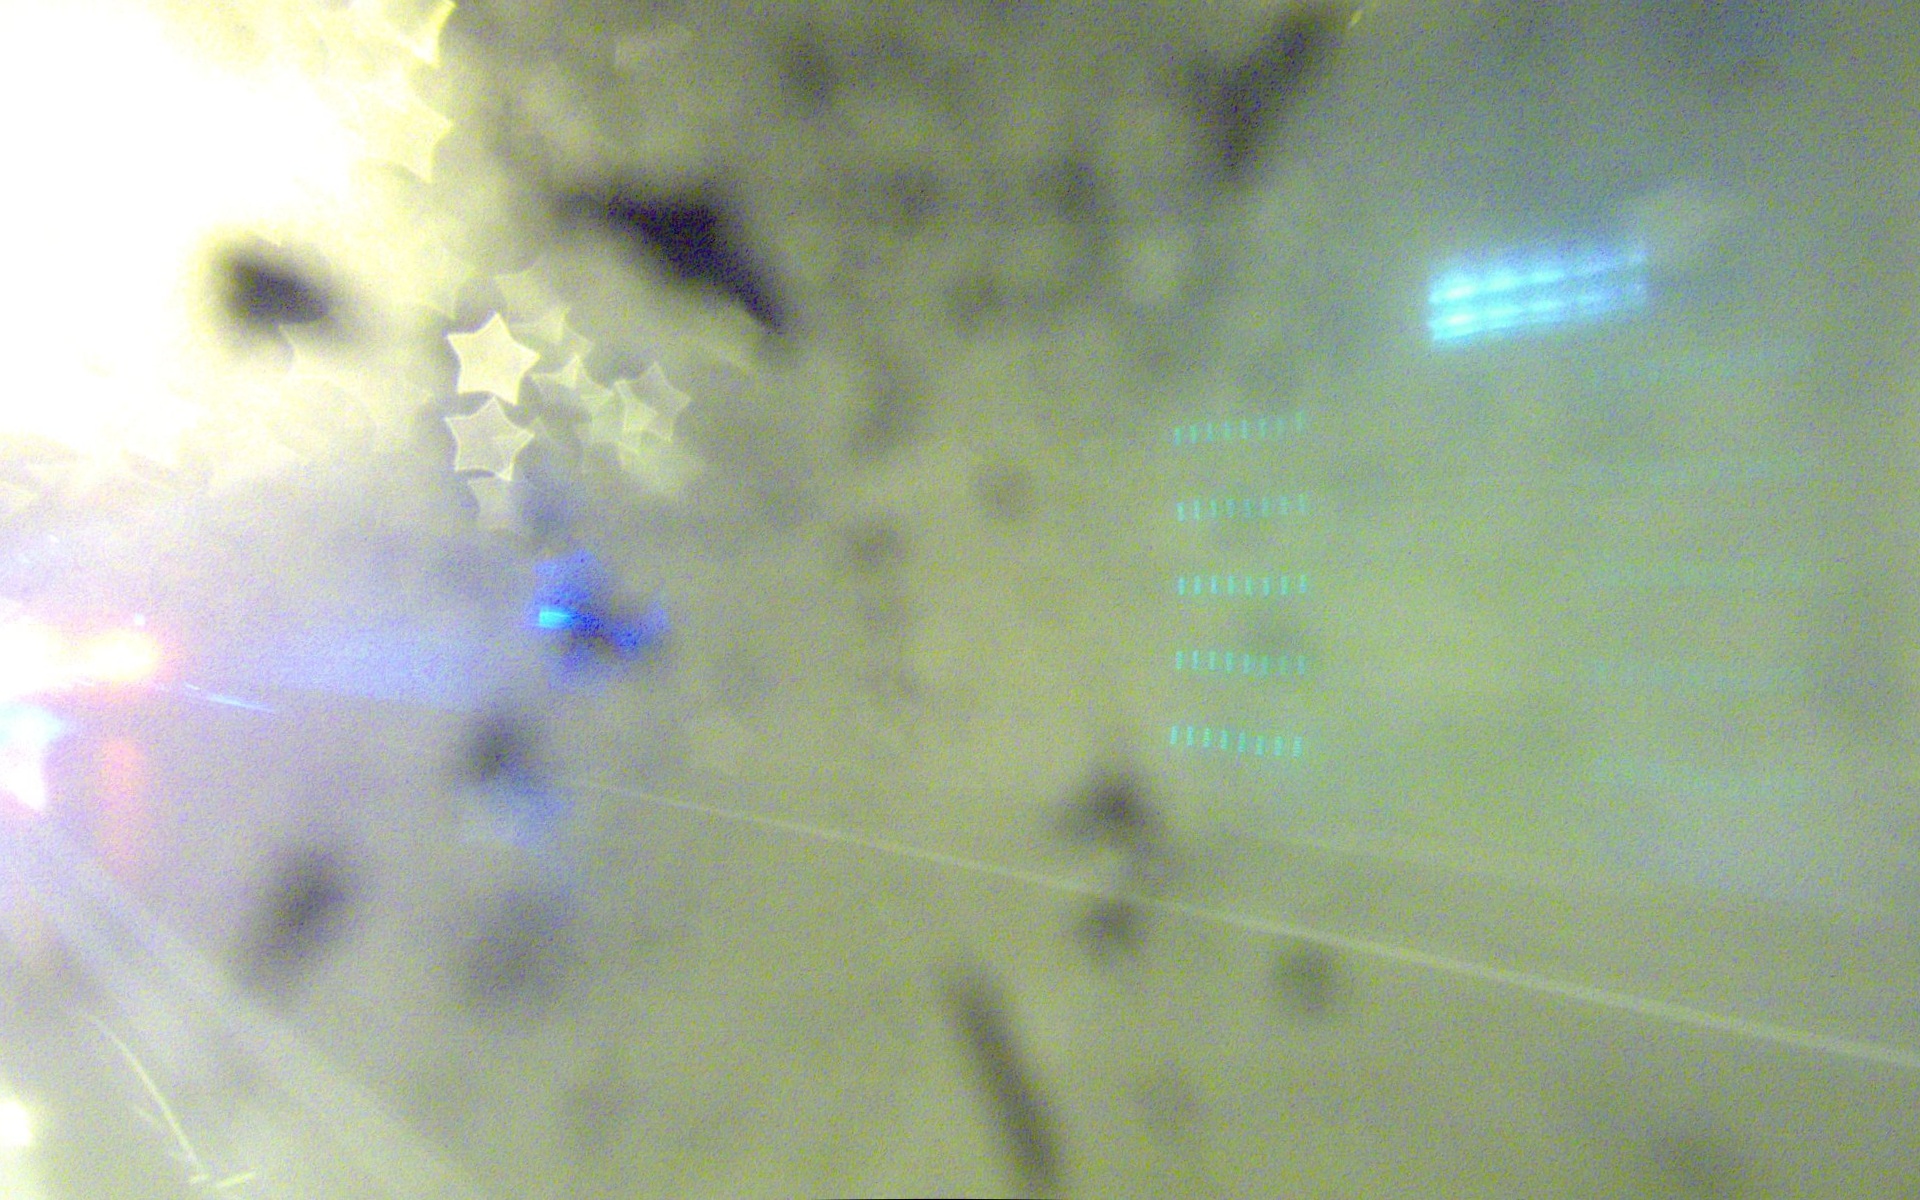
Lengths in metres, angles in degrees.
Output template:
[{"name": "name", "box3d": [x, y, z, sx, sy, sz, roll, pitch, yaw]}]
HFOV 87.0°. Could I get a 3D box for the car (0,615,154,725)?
[{"name": "car", "box3d": [-14.115, 0.999, 15.745, 4.474, 1.491, 1.730, -2, -2, 42]}]
